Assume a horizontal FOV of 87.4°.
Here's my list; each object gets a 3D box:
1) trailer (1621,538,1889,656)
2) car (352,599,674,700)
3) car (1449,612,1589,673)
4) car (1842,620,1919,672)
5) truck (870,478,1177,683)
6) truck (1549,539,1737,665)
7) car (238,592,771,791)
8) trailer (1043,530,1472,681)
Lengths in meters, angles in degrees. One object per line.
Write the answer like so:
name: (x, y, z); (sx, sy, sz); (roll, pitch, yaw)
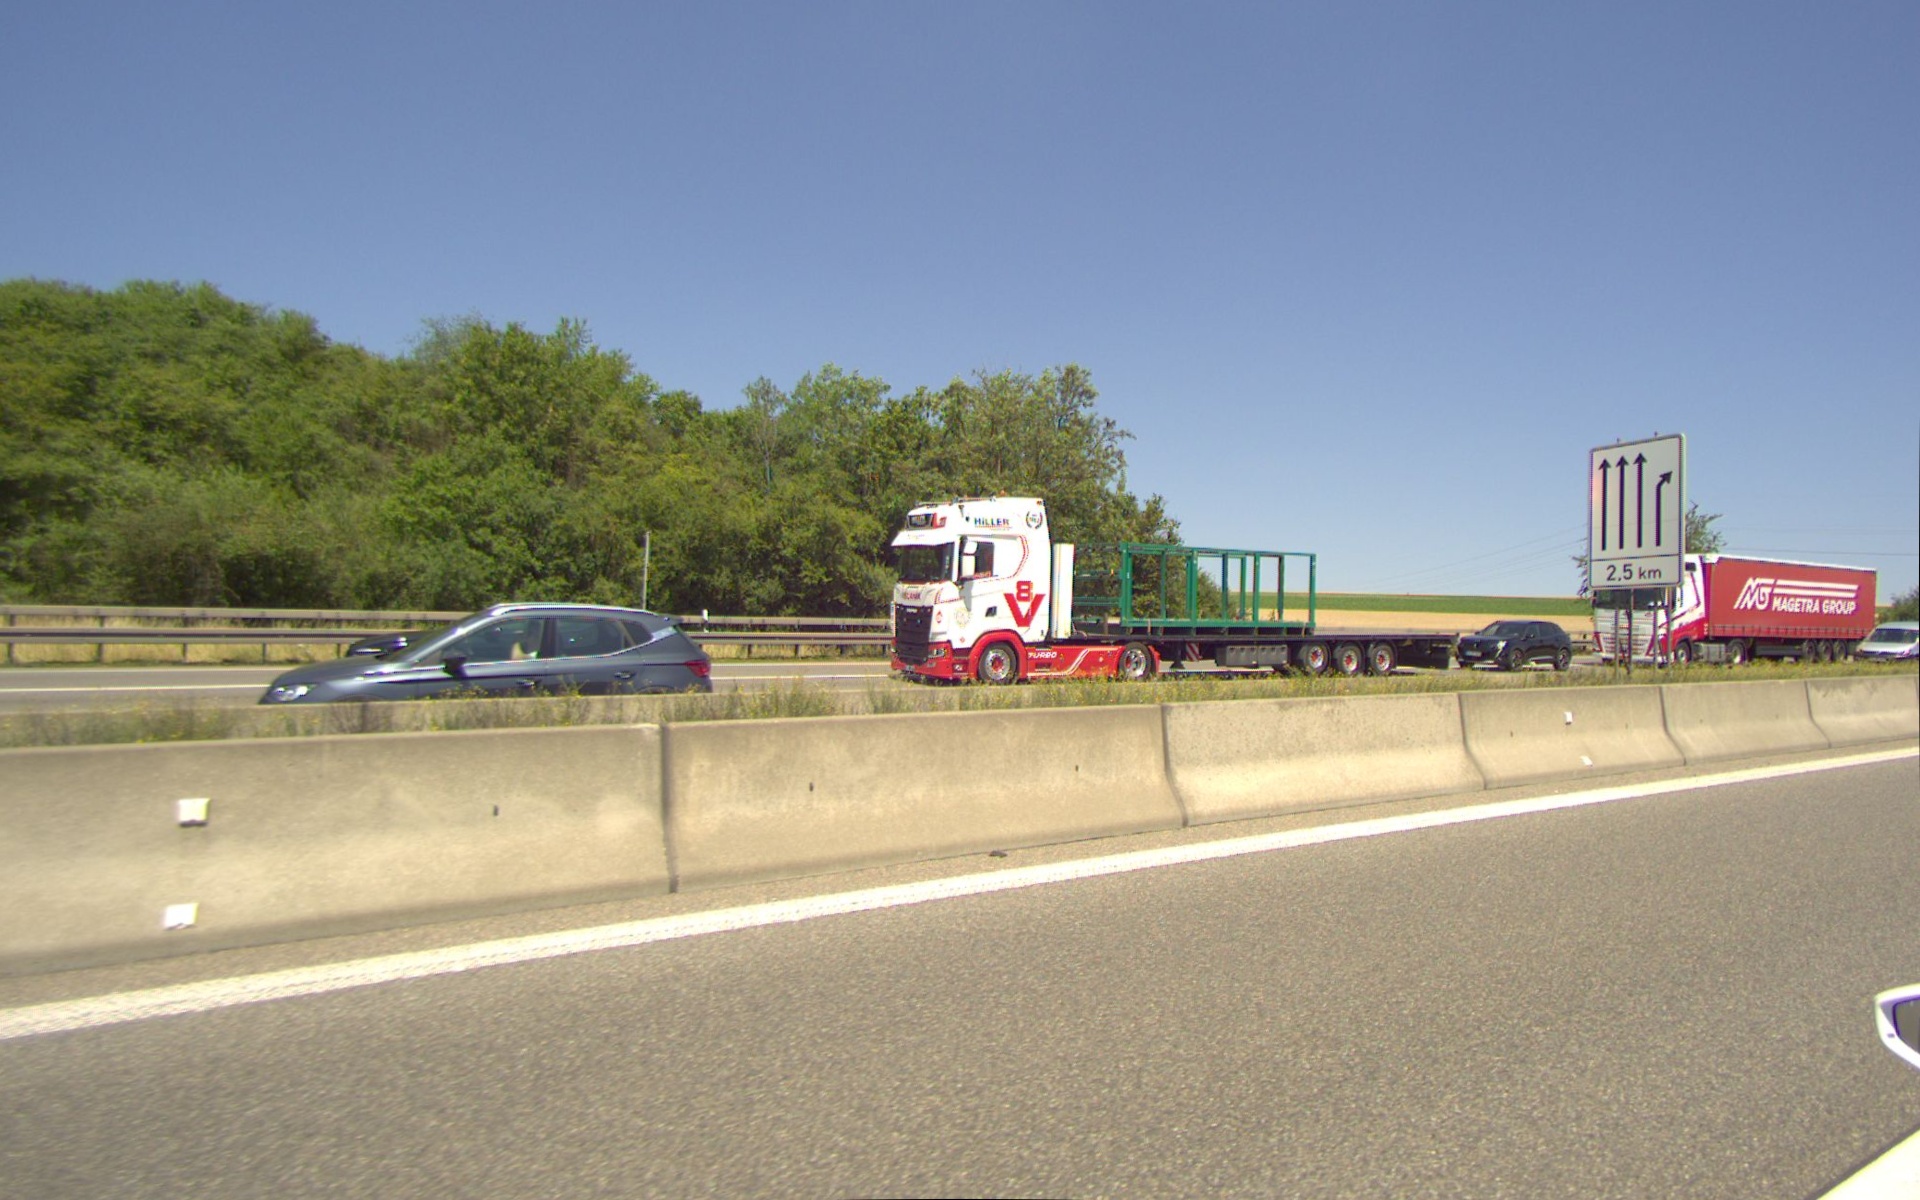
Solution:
trailer: (31.960, 0.018, 40.040); (14.204, 4.155, 3.072); (1, 0, -29)
car: (-7.187, 0.778, 16.371); (4.596, 1.450, 1.648); (2, -1, -32)
car: (17.670, 1.366, 31.701); (4.553, 1.652, 1.828); (4, -1, -31)
car: (35.343, 1.695, 37.762); (4.708, 1.795, 1.903); (2, 0, -31)
truck: (1.442, -0.319, 22.044); (6.106, 3.928, 2.886); (1, 0, -31)
truck: (24.324, 0.110, 35.737); (6.238, 4.136, 3.022); (1, 0, -29)
car: (-4.372, 0.779, 10.099); (4.502, 1.604, 1.828); (1, 0, -31)
trailer: (8.171, 0.243, 26.128); (12.634, 3.249, 2.844); (1, 0, -31)
